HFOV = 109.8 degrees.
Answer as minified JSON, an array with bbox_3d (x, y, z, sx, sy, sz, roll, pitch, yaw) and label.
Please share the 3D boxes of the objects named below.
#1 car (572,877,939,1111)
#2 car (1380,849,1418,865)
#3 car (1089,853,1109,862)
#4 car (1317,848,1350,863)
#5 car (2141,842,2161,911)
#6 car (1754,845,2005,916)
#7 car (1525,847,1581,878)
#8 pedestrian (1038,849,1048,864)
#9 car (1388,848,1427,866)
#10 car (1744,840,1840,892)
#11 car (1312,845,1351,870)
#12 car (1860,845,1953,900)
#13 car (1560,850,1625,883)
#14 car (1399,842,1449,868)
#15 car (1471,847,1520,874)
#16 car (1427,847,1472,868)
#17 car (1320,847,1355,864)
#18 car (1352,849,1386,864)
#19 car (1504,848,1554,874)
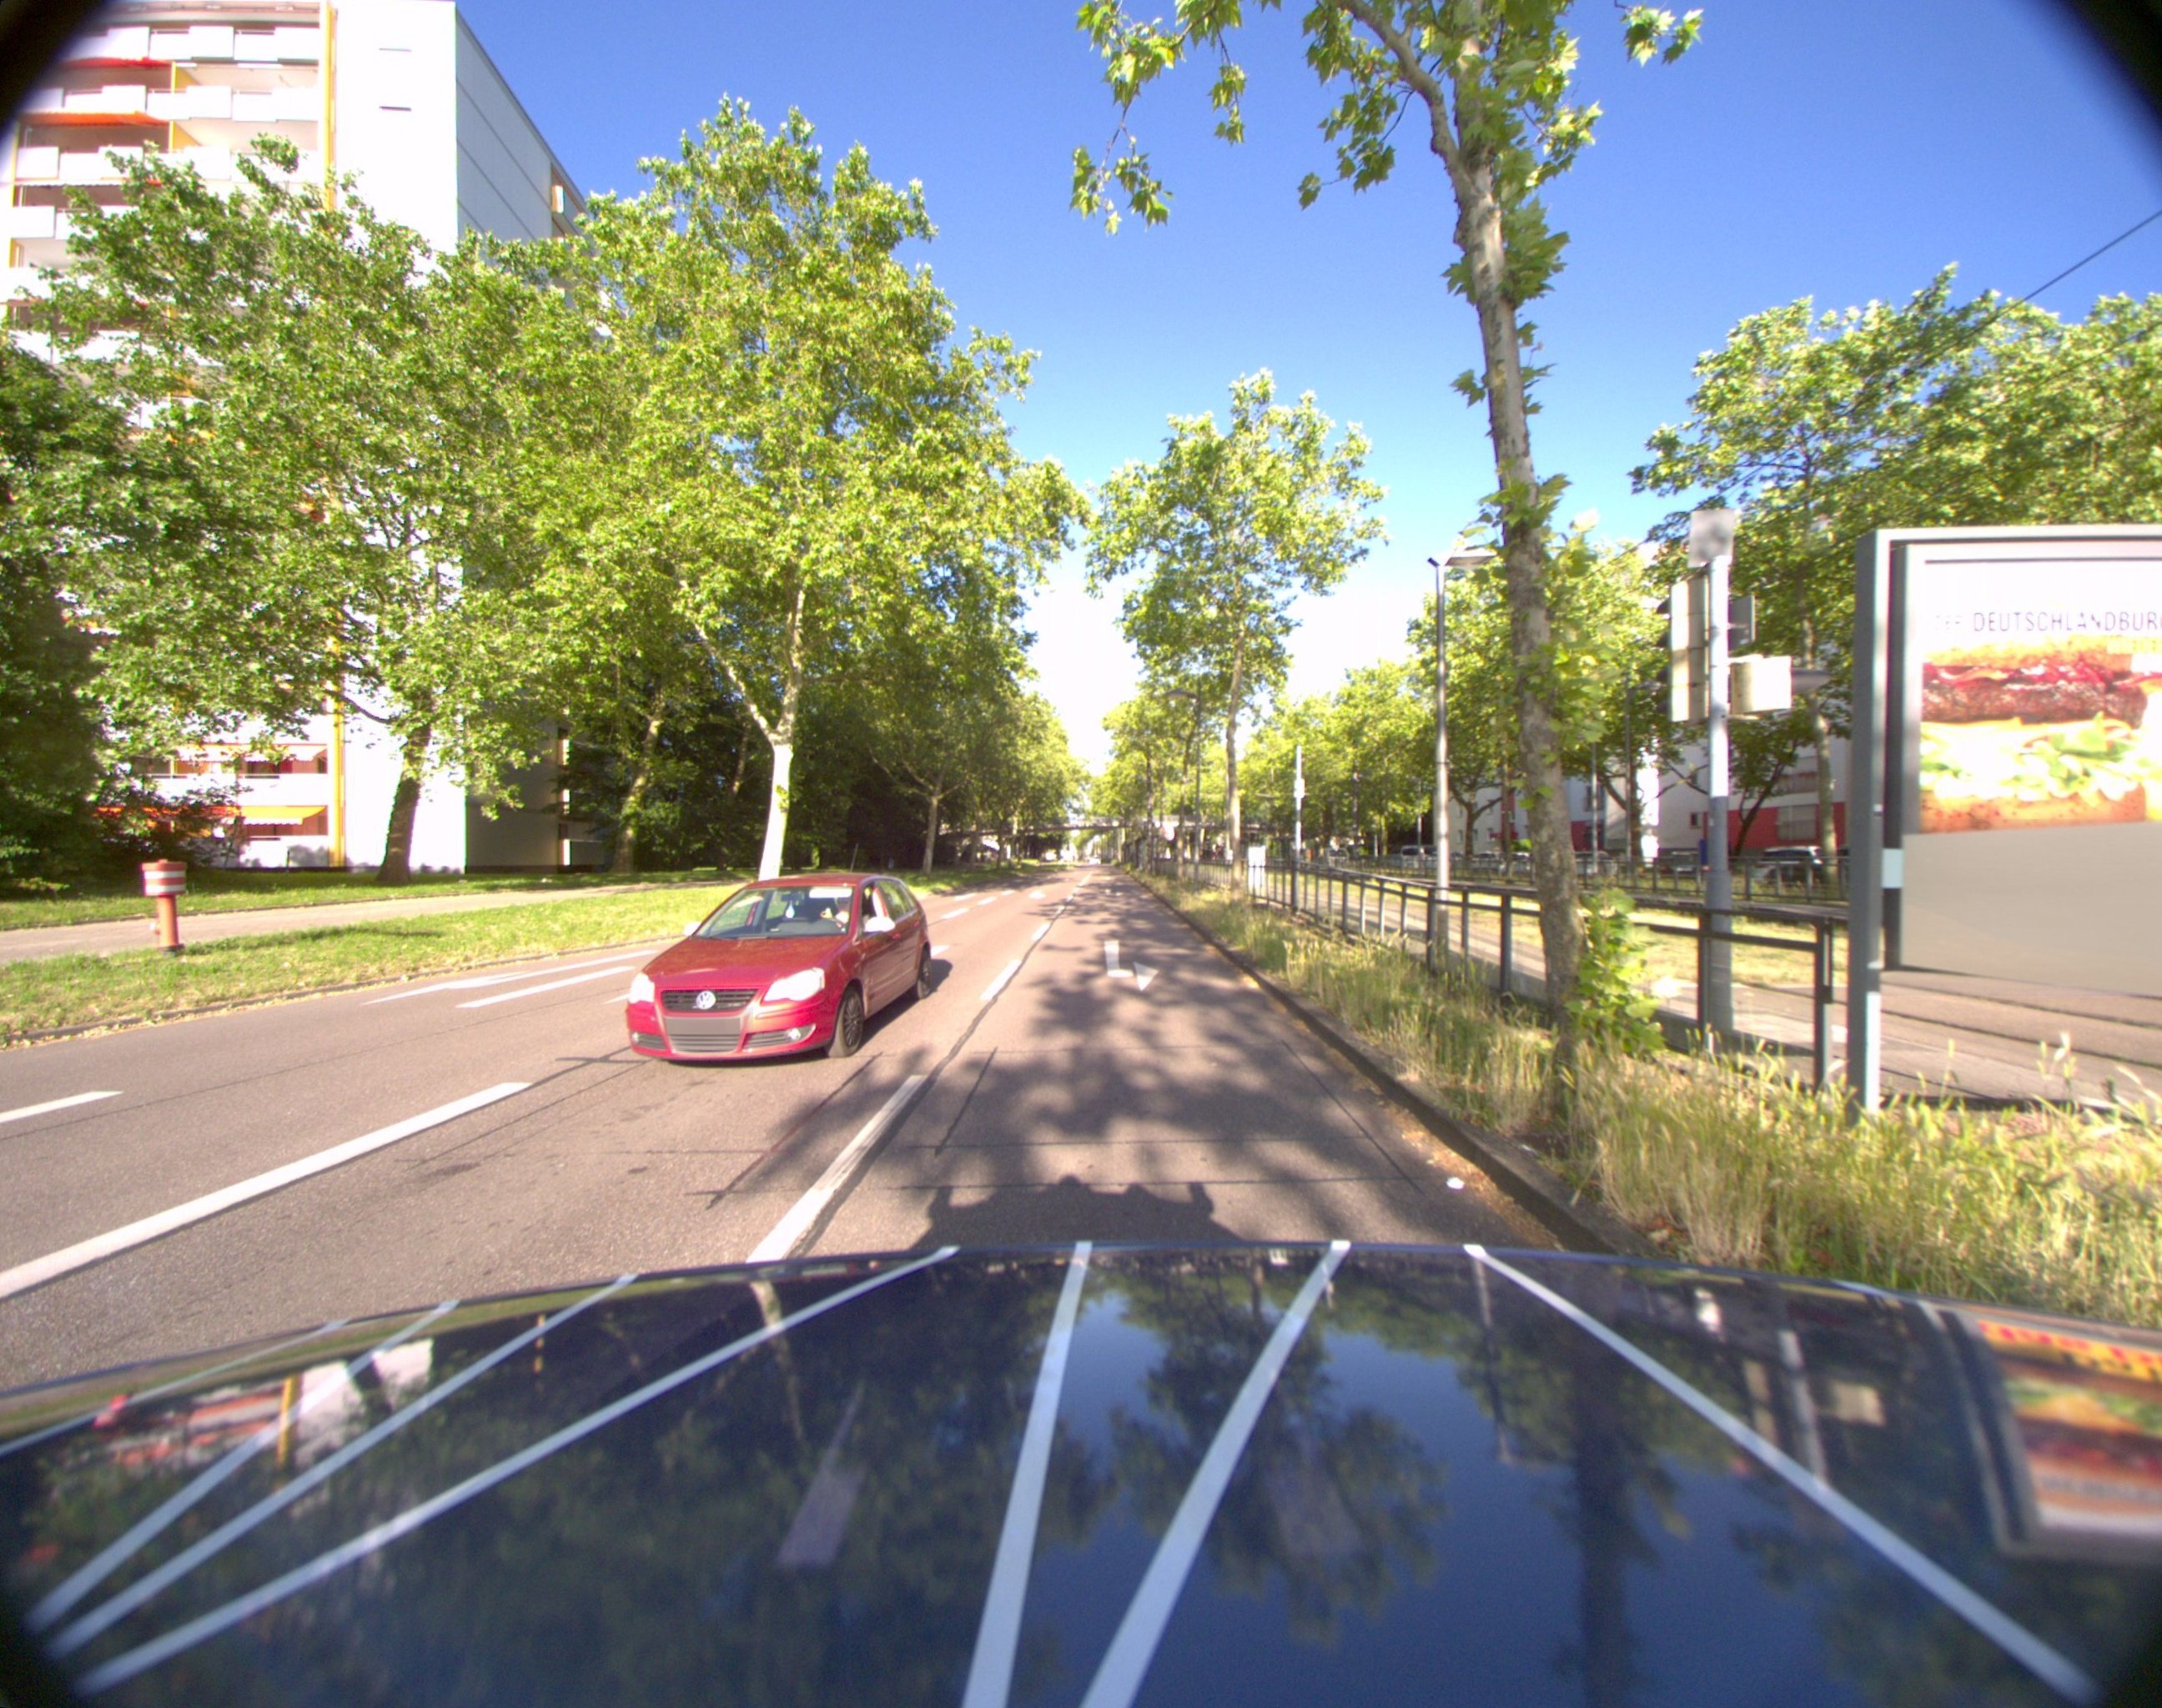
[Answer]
[{"bbox_3d":[-2.609,1.035,7.143,1.646,1.430,3.761,-2,1,2],"label":"car"},{"bbox_3d":[26.764,0.249,63.916,3.494,1.293,1.476,-1,1,-41],"label":"car"},{"bbox_3d":[3.203,0.597,134.341,1.794,1.465,4.006,-2,1,28],"label":"car"},{"bbox_3d":[26.384,0.139,79.369,3.742,1.517,1.597,-1,1,-43],"label":"car"},{"bbox_3d":[24.603,0.530,16.255,4.007,1.479,1.689,-3,1,-44],"label":"car"},{"bbox_3d":[18.931,0.562,18.337,1.769,1.503,4.102,-1,0,1],"label":"car"},{"bbox_3d":[25.702,0.451,41.361,3.402,1.499,1.461,-3,1,-37],"label":"car"},{"bbox_3d":[-5.260,0.337,104.765,0.917,2.002,0.964,-1,2,44],"label":"pedestrian"},{"bbox_3d":[25.911,0.251,60.244,3.494,1.336,1.476,-1,1,-41],"label":"car"},{"bbox_3d":[25.223,0.394,26.931,4.007,1.586,1.810,-3,1,-37],"label":"car"},{"bbox_3d":[20.234,0.266,61.628,1.795,1.980,4.653,-1,0,3],"label":"car"},{"bbox_3d":[25.193,0.526,23.151,3.770,1.420,1.555,-3,1,-37],"label":"car"},{"bbox_3d":[25.431,0.585,37.728,3.890,1.406,1.486,-3,1,-37],"label":"car"},{"bbox_3d":[25.761,0.058,56.961,4.056,1.802,1.864,-1,1,-41],"label":"car"},{"bbox_3d":[25.918,0.388,47.496,3.493,1.417,1.558,-3,-1,-42],"label":"car"},{"bbox_3d":[26.136,0.263,53.866,3.494,1.395,1.623,-1,1,-41],"label":"car"},{"bbox_3d":[25.060,0.148,74.255,3.835,1.561,1.597,-1,1,-43],"label":"car"},{"bbox_3d":[26.457,0.227,69.742,3.494,1.312,1.476,-1,1,-41],"label":"car"},{"bbox_3d":[26.301,0.396,44.578,3.493,1.321,1.476,-3,0,-41],"label":"car"}]
